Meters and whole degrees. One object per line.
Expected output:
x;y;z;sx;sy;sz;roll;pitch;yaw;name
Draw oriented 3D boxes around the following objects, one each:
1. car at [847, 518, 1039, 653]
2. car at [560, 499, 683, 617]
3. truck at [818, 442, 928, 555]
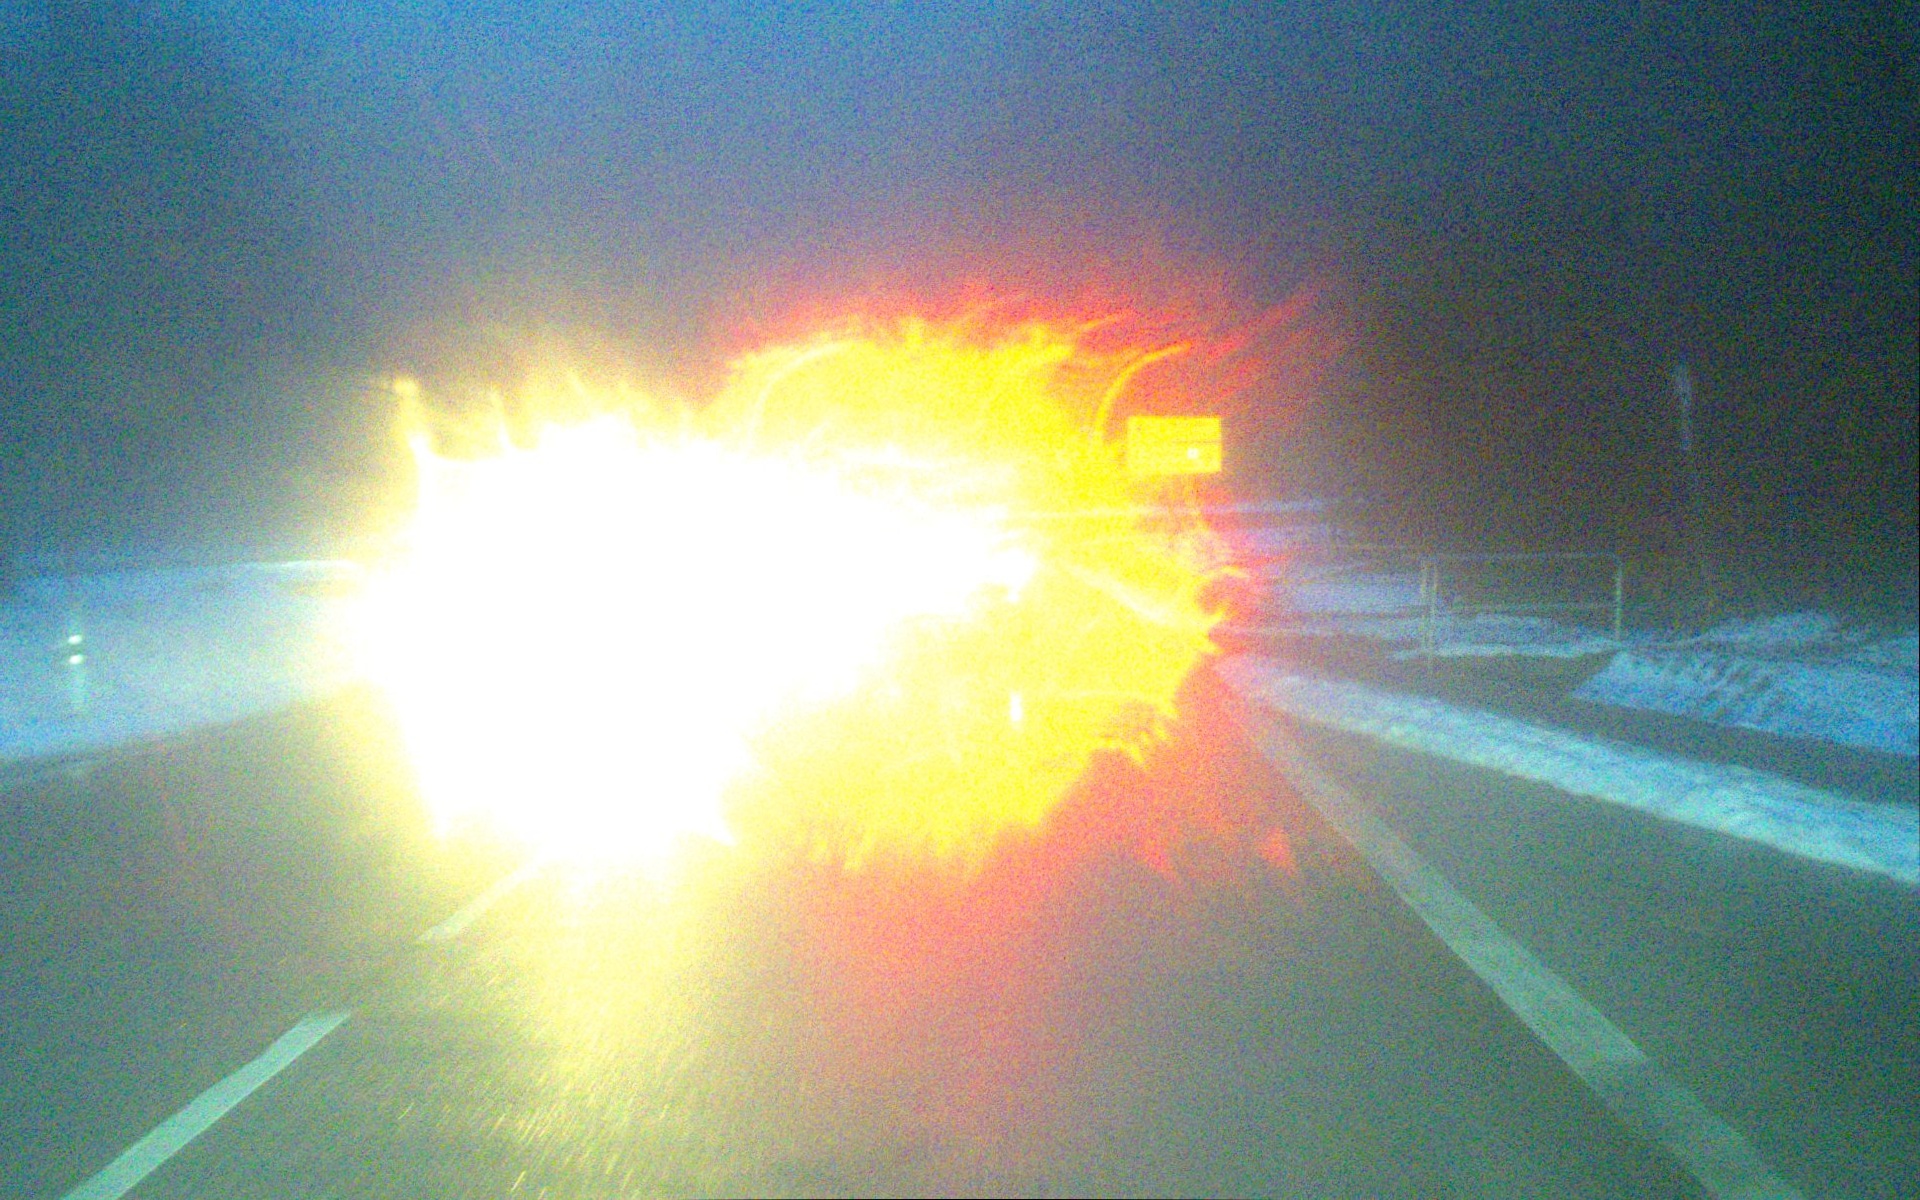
-0.243;-0.200;37.870;1.921;1.272;4.001;-1;3;-3;car
-5.197;-0.685;53.111;1.751;1.687;4.427;-2;2;-5;car
-2.226;-2.557;86.499;2.075;2.736;5.321;-1;2;-9;truck
